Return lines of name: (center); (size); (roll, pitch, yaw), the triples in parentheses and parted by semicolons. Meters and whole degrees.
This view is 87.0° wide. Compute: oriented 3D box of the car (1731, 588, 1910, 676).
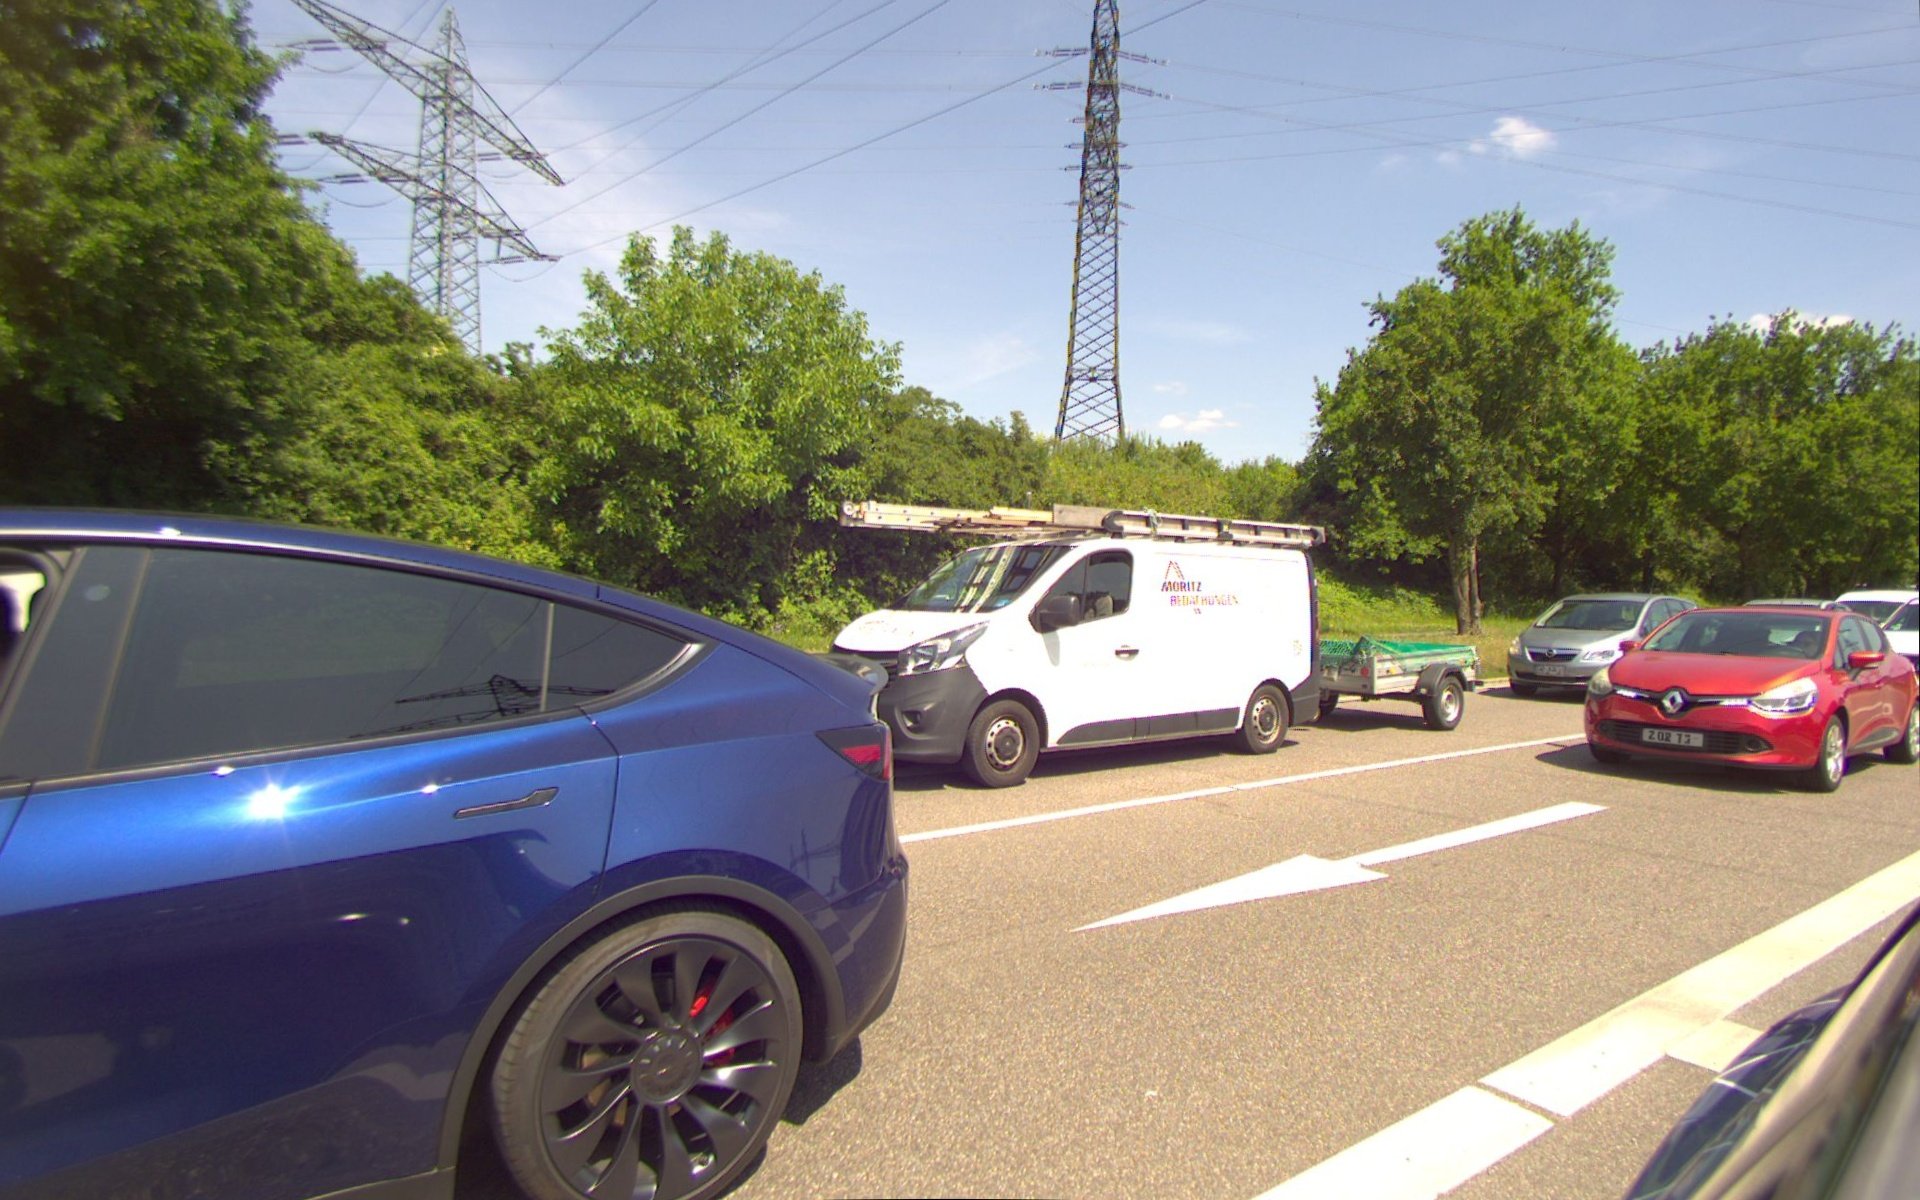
car: (17.568, 0.587, 20.613); (4.190, 1.614, 1.749); (0, 0, -35)

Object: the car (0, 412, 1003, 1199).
car: (-2.238, 0.523, 2.222); (4.435, 1.665, 1.906); (0, 0, -36)

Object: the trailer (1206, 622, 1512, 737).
trailer: (4.560, 0.809, 11.480); (3.260, 1.019, 1.711); (0, 1, -35)

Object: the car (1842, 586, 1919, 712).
car: (13.989, 0.635, 13.883); (4.280, 1.588, 1.852); (0, 0, -35)

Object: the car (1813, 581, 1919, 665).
car: (22.352, 0.496, 24.187); (4.942, 1.823, 1.810); (0, 0, -35)

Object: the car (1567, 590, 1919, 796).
car: (7.379, 0.672, 9.209); (3.988, 1.480, 1.748); (0, 0, -36)

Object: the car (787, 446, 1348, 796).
car: (1.147, 0.130, 9.107); (4.979, 2.378, 1.939); (0, 0, -35)

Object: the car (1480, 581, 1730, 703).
car: (9.931, 0.562, 15.500); (4.085, 1.615, 1.771); (0, 1, -35)
